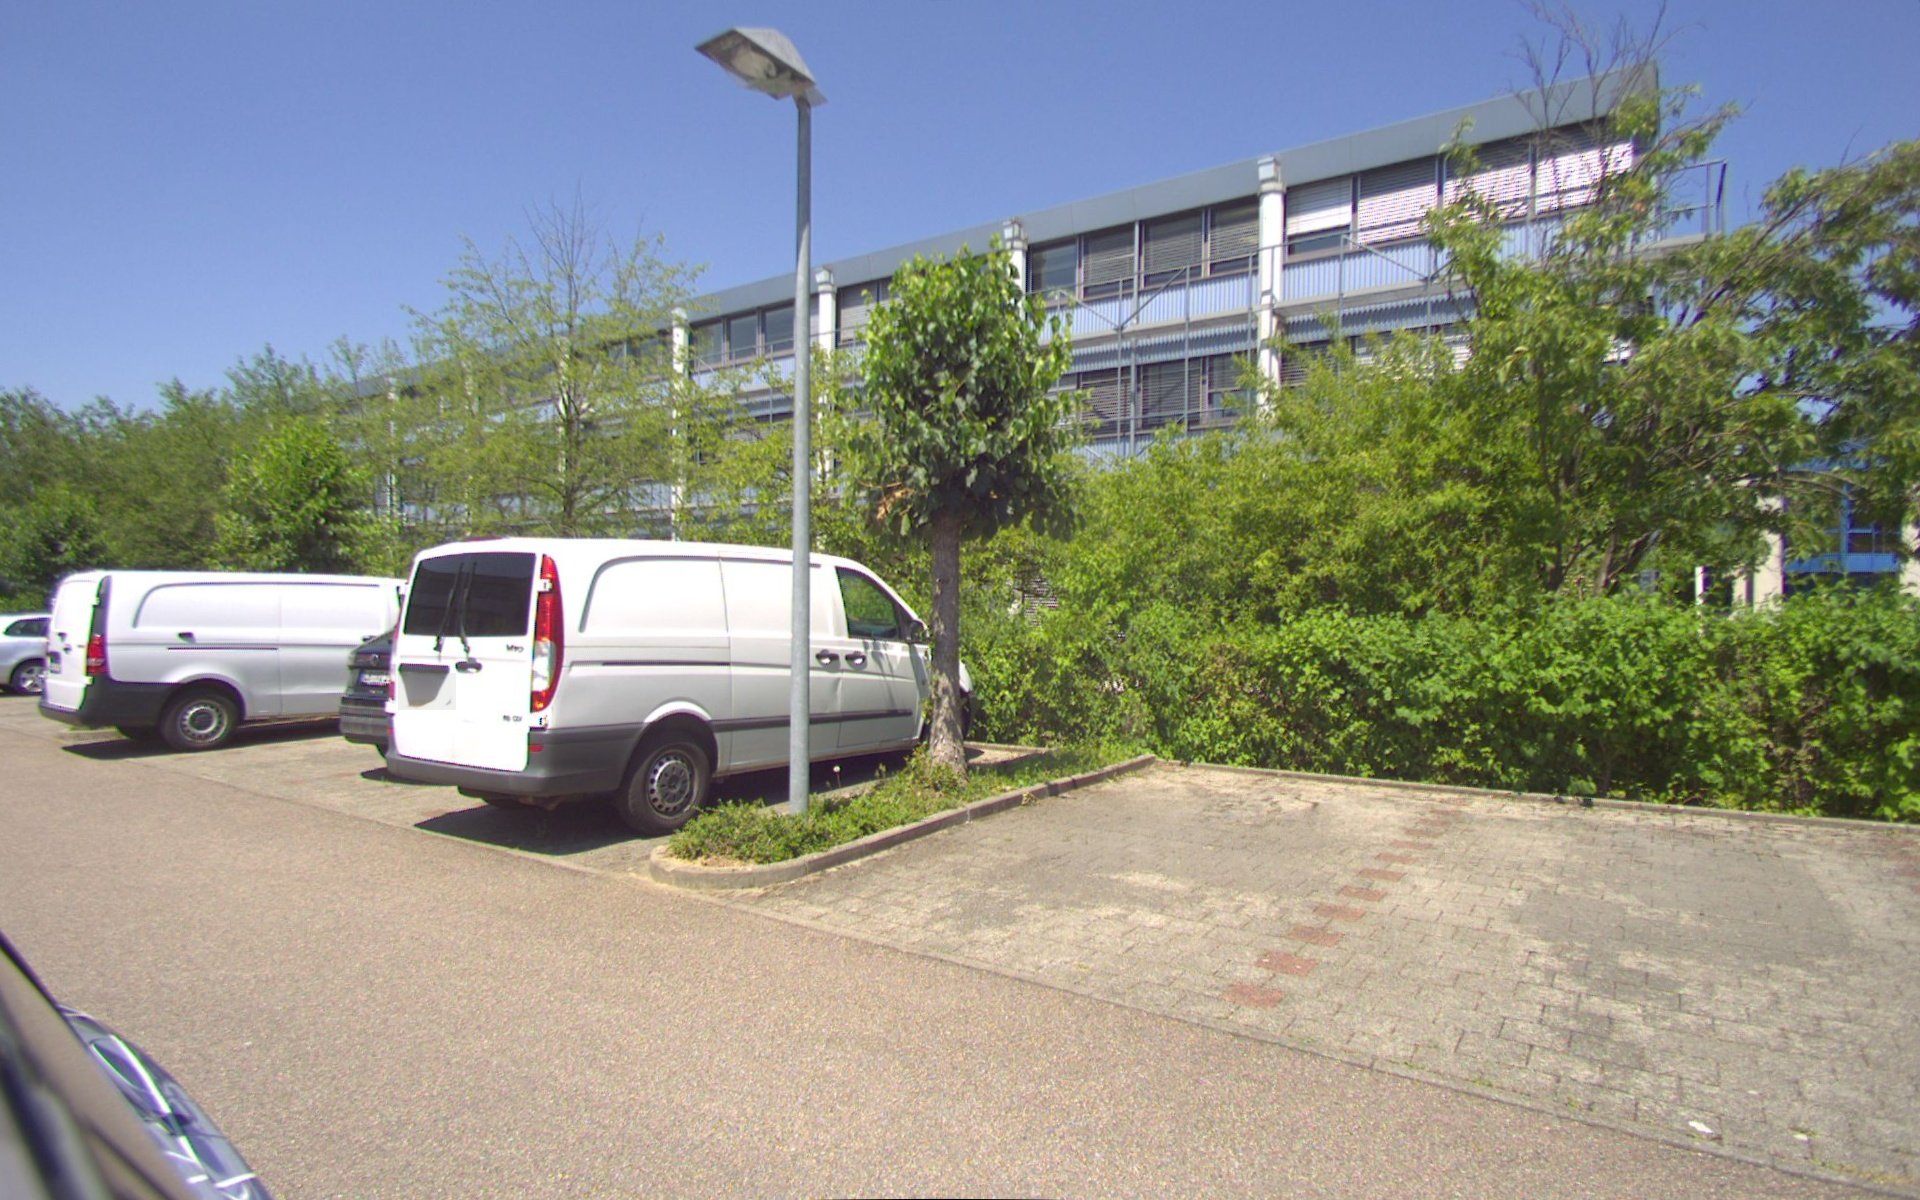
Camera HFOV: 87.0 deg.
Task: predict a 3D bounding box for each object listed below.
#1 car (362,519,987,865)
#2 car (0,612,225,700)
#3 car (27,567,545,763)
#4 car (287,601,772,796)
[{"bbox_3d":[-1.821,0.529,7.938,1.864,1.874,4.622,-1,-1,34],"label":"car"},{"bbox_3d":[-16.436,0.987,18.945,1.737,1.495,4.033,-1,-1,37],"label":"car"},{"bbox_3d":[-7.748,0.641,12.168,1.853,1.870,4.874,-1,-1,36],"label":"car"},{"bbox_3d":[-3.960,0.781,9.991,1.735,1.495,4.149,-1,-1,34],"label":"car"}]
